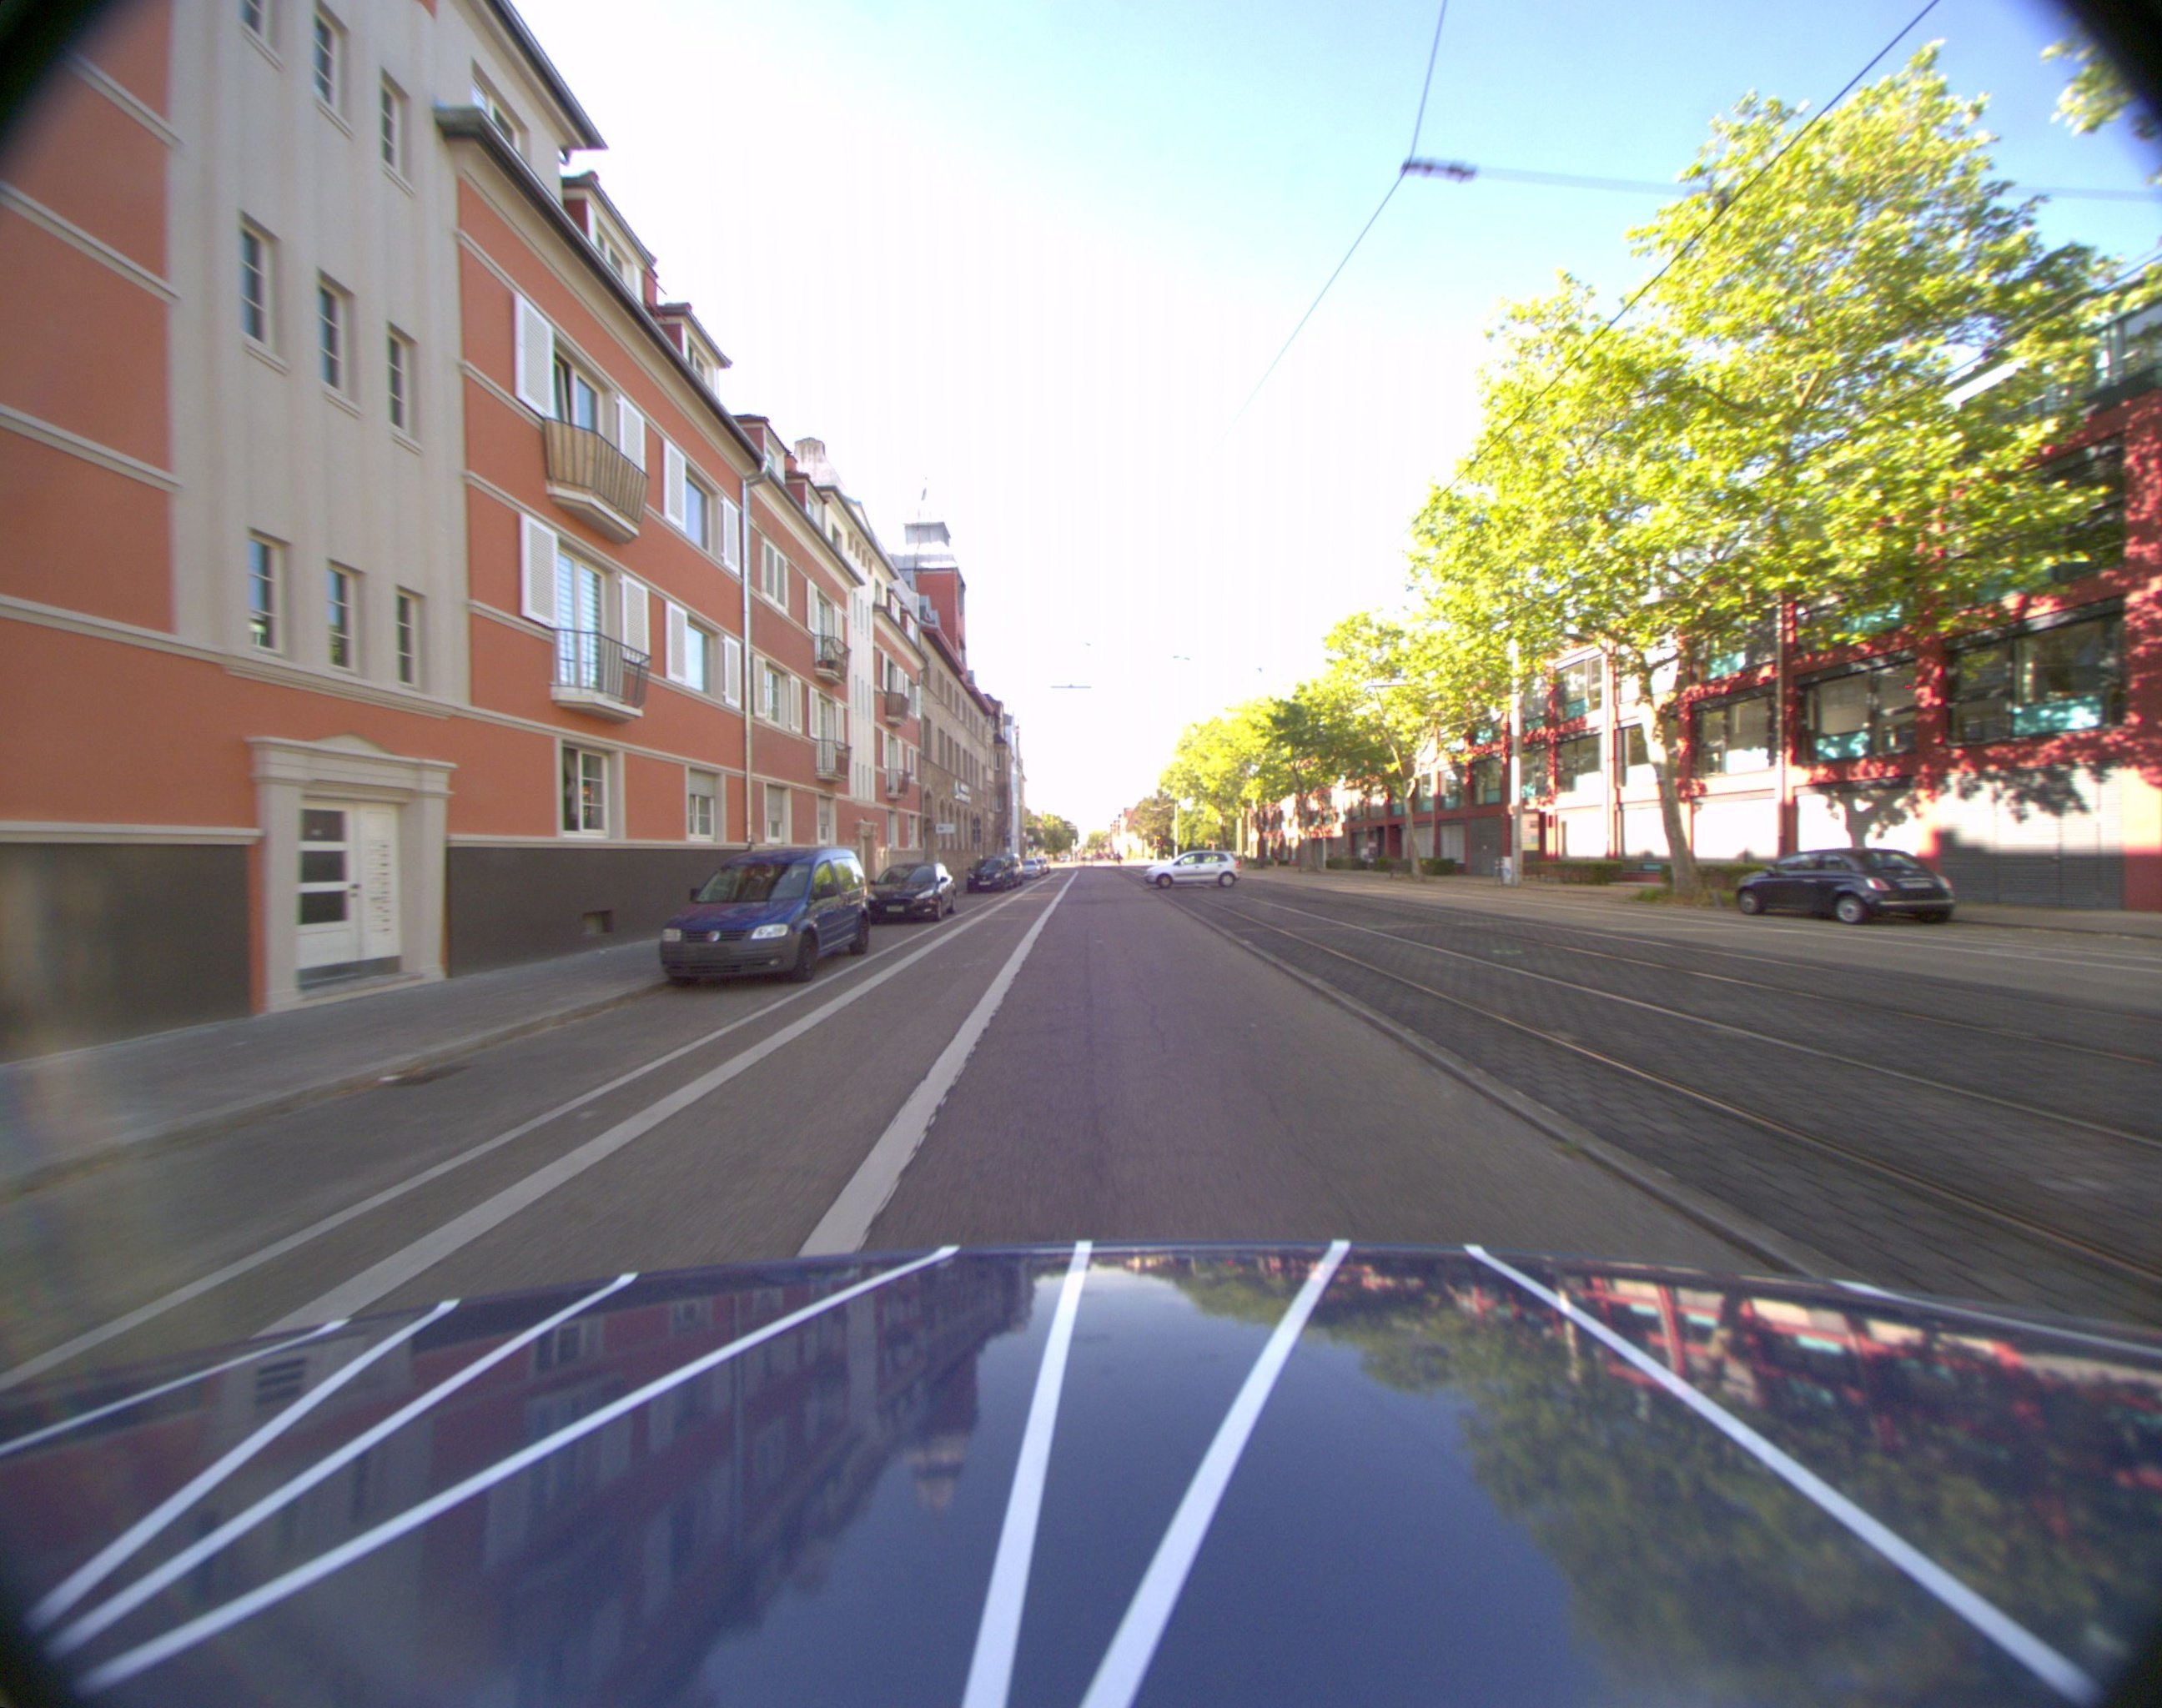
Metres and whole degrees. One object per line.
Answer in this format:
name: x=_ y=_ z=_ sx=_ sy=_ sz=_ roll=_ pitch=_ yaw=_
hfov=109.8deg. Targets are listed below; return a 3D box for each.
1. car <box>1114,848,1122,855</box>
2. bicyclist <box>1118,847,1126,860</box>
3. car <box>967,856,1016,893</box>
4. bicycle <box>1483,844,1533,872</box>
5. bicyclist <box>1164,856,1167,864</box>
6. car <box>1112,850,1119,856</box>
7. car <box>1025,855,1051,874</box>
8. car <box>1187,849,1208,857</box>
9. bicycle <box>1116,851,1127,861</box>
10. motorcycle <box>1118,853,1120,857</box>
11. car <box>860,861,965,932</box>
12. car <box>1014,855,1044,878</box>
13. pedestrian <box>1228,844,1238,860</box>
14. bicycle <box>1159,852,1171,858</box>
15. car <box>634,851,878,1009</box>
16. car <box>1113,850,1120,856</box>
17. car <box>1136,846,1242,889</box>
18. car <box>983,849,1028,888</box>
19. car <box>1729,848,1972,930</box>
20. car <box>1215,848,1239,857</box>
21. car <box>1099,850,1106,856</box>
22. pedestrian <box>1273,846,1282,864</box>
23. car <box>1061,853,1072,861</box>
car: x=10.189 y=-0.605 z=208.667 sx=1.923 sy=1.890 sz=4.001 roll=-3 pitch=0 yaw=3
bicyclist: x=5.234 y=-0.070 z=97.127 sx=0.605 sy=1.682 sz=0.934 roll=-2 pitch=0 yaw=26
car: x=-4.049 y=0.899 z=34.968 sx=1.635 sy=1.502 sz=3.717 roll=-3 pitch=0 yaw=2
bicycle: x=21.113 y=0.211 z=37.580 sx=2.066 sy=1.265 sz=0.618 roll=-3 pitch=0 yaw=5
bicyclist: x=16.458 y=1.190 z=148.181 sx=0.559 sy=1.613 sz=0.899 roll=0 pitch=1 yaw=8
car: x=10.274 y=-0.200 z=223.443 sx=1.924 sy=1.705 sz=4.000 roll=-3 pitch=0 yaw=2
car: x=-3.672 y=0.848 z=64.831 sx=1.757 sy=1.492 sz=4.196 roll=-3 pitch=0 yaw=2
car: x=22.448 y=-0.156 z=146.835 sx=3.995 sy=1.425 sz=1.817 roll=-1 pitch=0 yaw=6
bicycle: x=5.219 y=0.258 z=97.113 sx=0.632 sy=1.124 sz=2.037 roll=1 pitch=5 yaw=24
motorcycle: x=9.655 y=0.240 z=193.719 sx=0.605 sy=1.040 sz=2.437 roll=-3 pitch=0 yaw=3
car: x=-4.260 y=1.005 z=20.012 sx=1.758 sy=1.502 sz=4.761 roll=-3 pitch=0 yaw=-2
car: x=-3.709 y=0.845 z=54.640 sx=1.718 sy=1.492 sz=4.226 roll=-3 pitch=0 yaw=1
pedestrian: x=18.862 y=-0.217 z=94.315 sx=0.913 sy=2.002 sz=0.780 roll=-3 pitch=0 yaw=-8
bicycle: x=16.464 y=0.223 z=148.168 sx=2.284 sy=1.111 sz=0.930 roll=-1 pitch=1 yaw=8
car: x=-4.403 y=0.890 z=11.106 sx=1.707 sy=1.800 sz=4.270 roll=-2 pitch=1 yaw=-1
car: x=10.568 y=-0.202 z=229.390 sx=1.924 sy=1.705 sz=4.000 roll=-3 pitch=0 yaw=1
car: x=4.303 y=0.516 z=30.644 sx=4.066 sy=1.509 sz=1.759 roll=-3 pitch=0 yaw=5
car: x=-3.884 y=0.715 z=39.618 sx=1.757 sy=1.844 sz=4.815 roll=-2 pitch=0 yaw=1
car: x=15.517 y=0.641 z=15.600 sx=1.511 sy=1.445 sz=3.464 roll=-3 pitch=0 yaw=2
car: x=28.708 y=-0.284 z=149.494 sx=4.311 sy=1.856 sz=1.817 roll=-1 pitch=0 yaw=3
car: x=6.974 y=-0.327 z=248.942 sx=2.024 sy=2.001 sz=5.252 roll=1 pitch=-1 yaw=3
pedestrian: x=19.175 y=0.137 z=74.115 sx=0.627 sy=1.708 sz=0.900 roll=-3 pitch=0 yaw=0
car: x=-3.126 y=0.688 z=165.081 sx=1.923 sy=1.705 sz=4.001 roll=-3 pitch=0 yaw=3
